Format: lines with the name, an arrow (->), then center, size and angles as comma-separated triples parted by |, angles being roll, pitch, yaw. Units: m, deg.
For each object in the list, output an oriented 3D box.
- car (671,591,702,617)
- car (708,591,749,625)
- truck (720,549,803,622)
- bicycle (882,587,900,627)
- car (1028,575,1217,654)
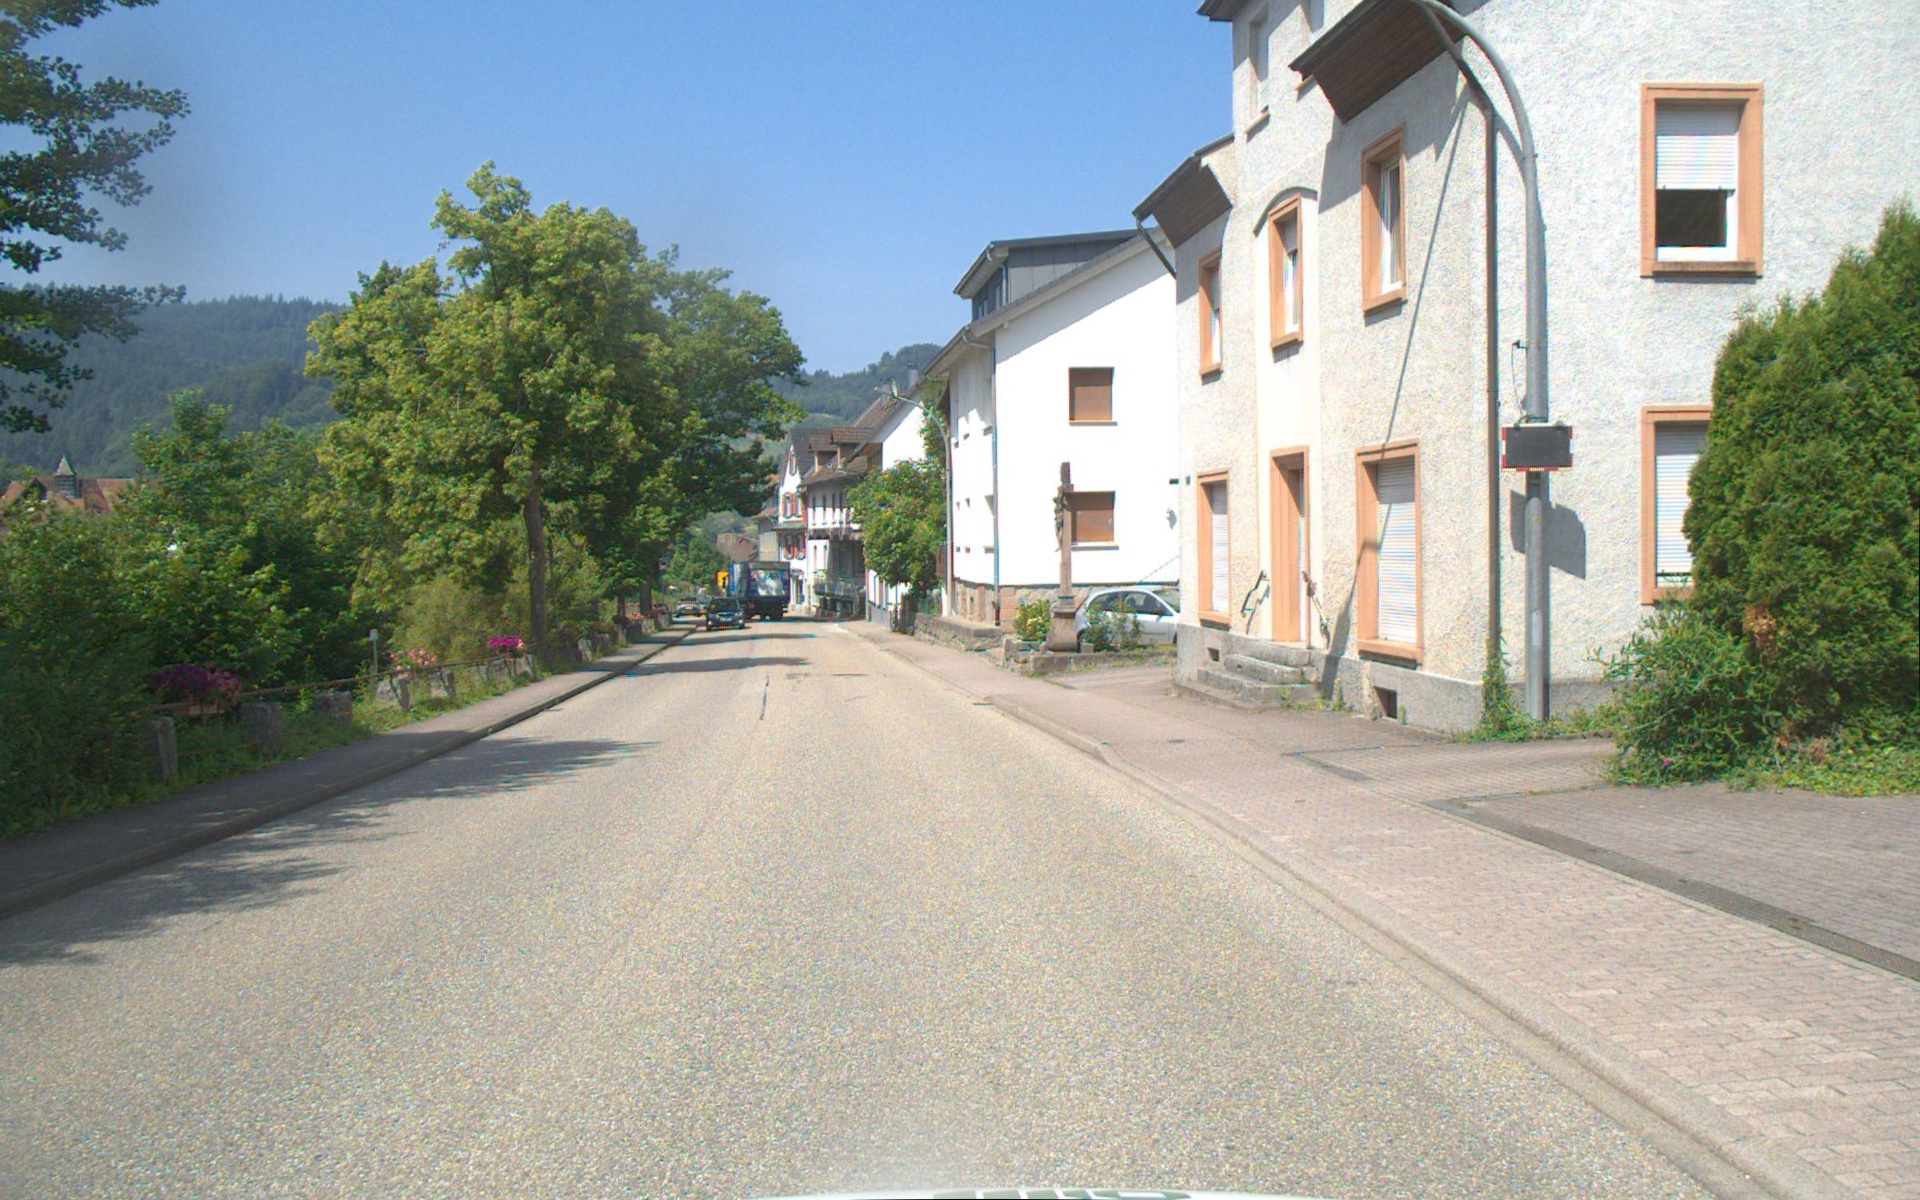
car -> -21.363, 0.351, 129.223 | 1.746, 1.764, 3.980 | -5, -1, -17
car -> -10.512, 0.344, 75.318 | 1.634, 1.442, 4.081 | -3, 0, -6
truck -> -12.204, -0.818, 100.872 | 3.311, 3.847, 8.398 | -4, -1, -17
bicycle -> -2.542, 0.241, 60.592 | 0.417, 1.420, 2.274 | -4, 1, -6
car -> 3.435, 0.321, 35.284 | 3.704, 1.452, 1.603 | -4, 0, 39
